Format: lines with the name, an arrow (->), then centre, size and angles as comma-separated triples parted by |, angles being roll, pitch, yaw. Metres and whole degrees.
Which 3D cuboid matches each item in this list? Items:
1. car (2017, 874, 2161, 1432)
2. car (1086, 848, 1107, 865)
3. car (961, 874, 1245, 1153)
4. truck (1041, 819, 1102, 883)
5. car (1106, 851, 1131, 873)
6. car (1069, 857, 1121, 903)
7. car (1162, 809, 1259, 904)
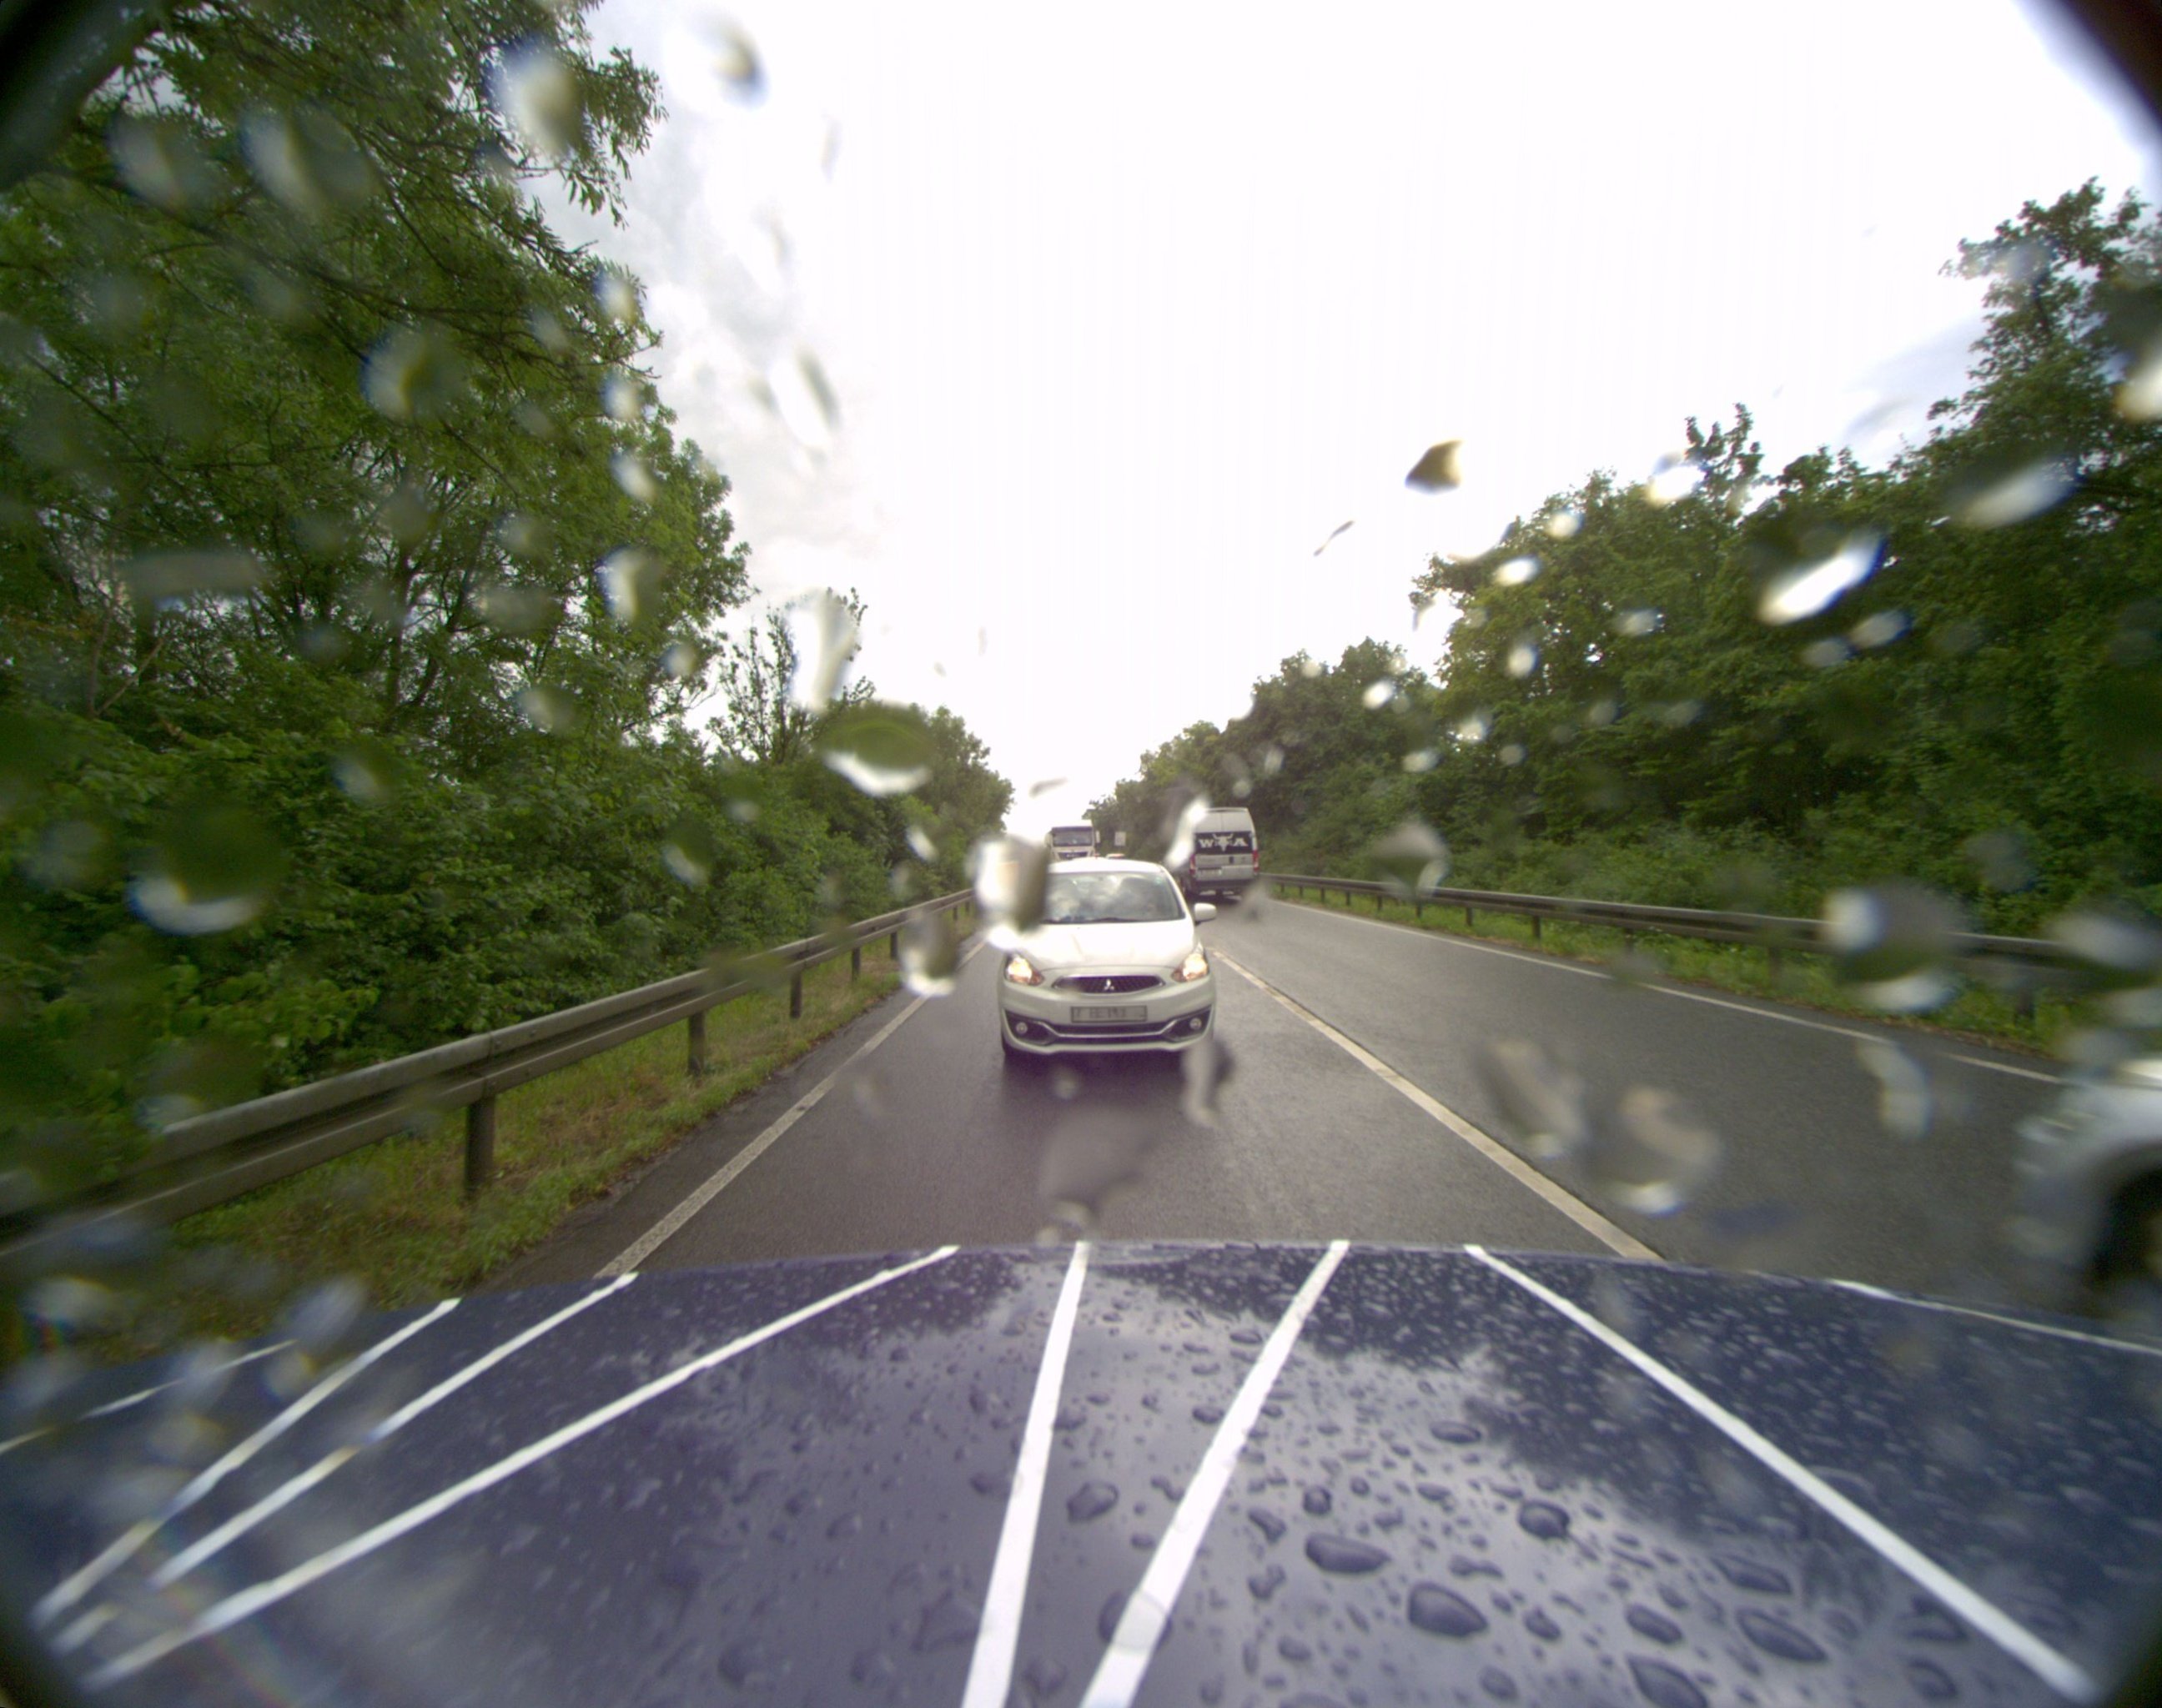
car -> 3.603, 0.783, 0.317 | 1.732, 1.423, 3.849 | -2, 1, 1
car -> 1.590, 0.268, 79.093 | 1.852, 1.634, 4.297 | -2, 0, -3
car -> 0.142, 0.990, 6.540 | 1.610, 1.435, 4.209 | -2, 0, 0
truck -> -0.633, -0.227, 45.836 | 3.136, 3.364, 9.280 | -2, 1, -2
car -> 2.941, 0.587, 60.494 | 1.696, 1.547, 4.441 | -2, 1, -1
car -> 0.431, 0.841, 26.793 | 1.640, 1.413, 4.491 | -2, 0, -1
car -> 4.027, 0.035, 24.743 | 2.053, 2.661, 6.170 | -2, 1, 0
